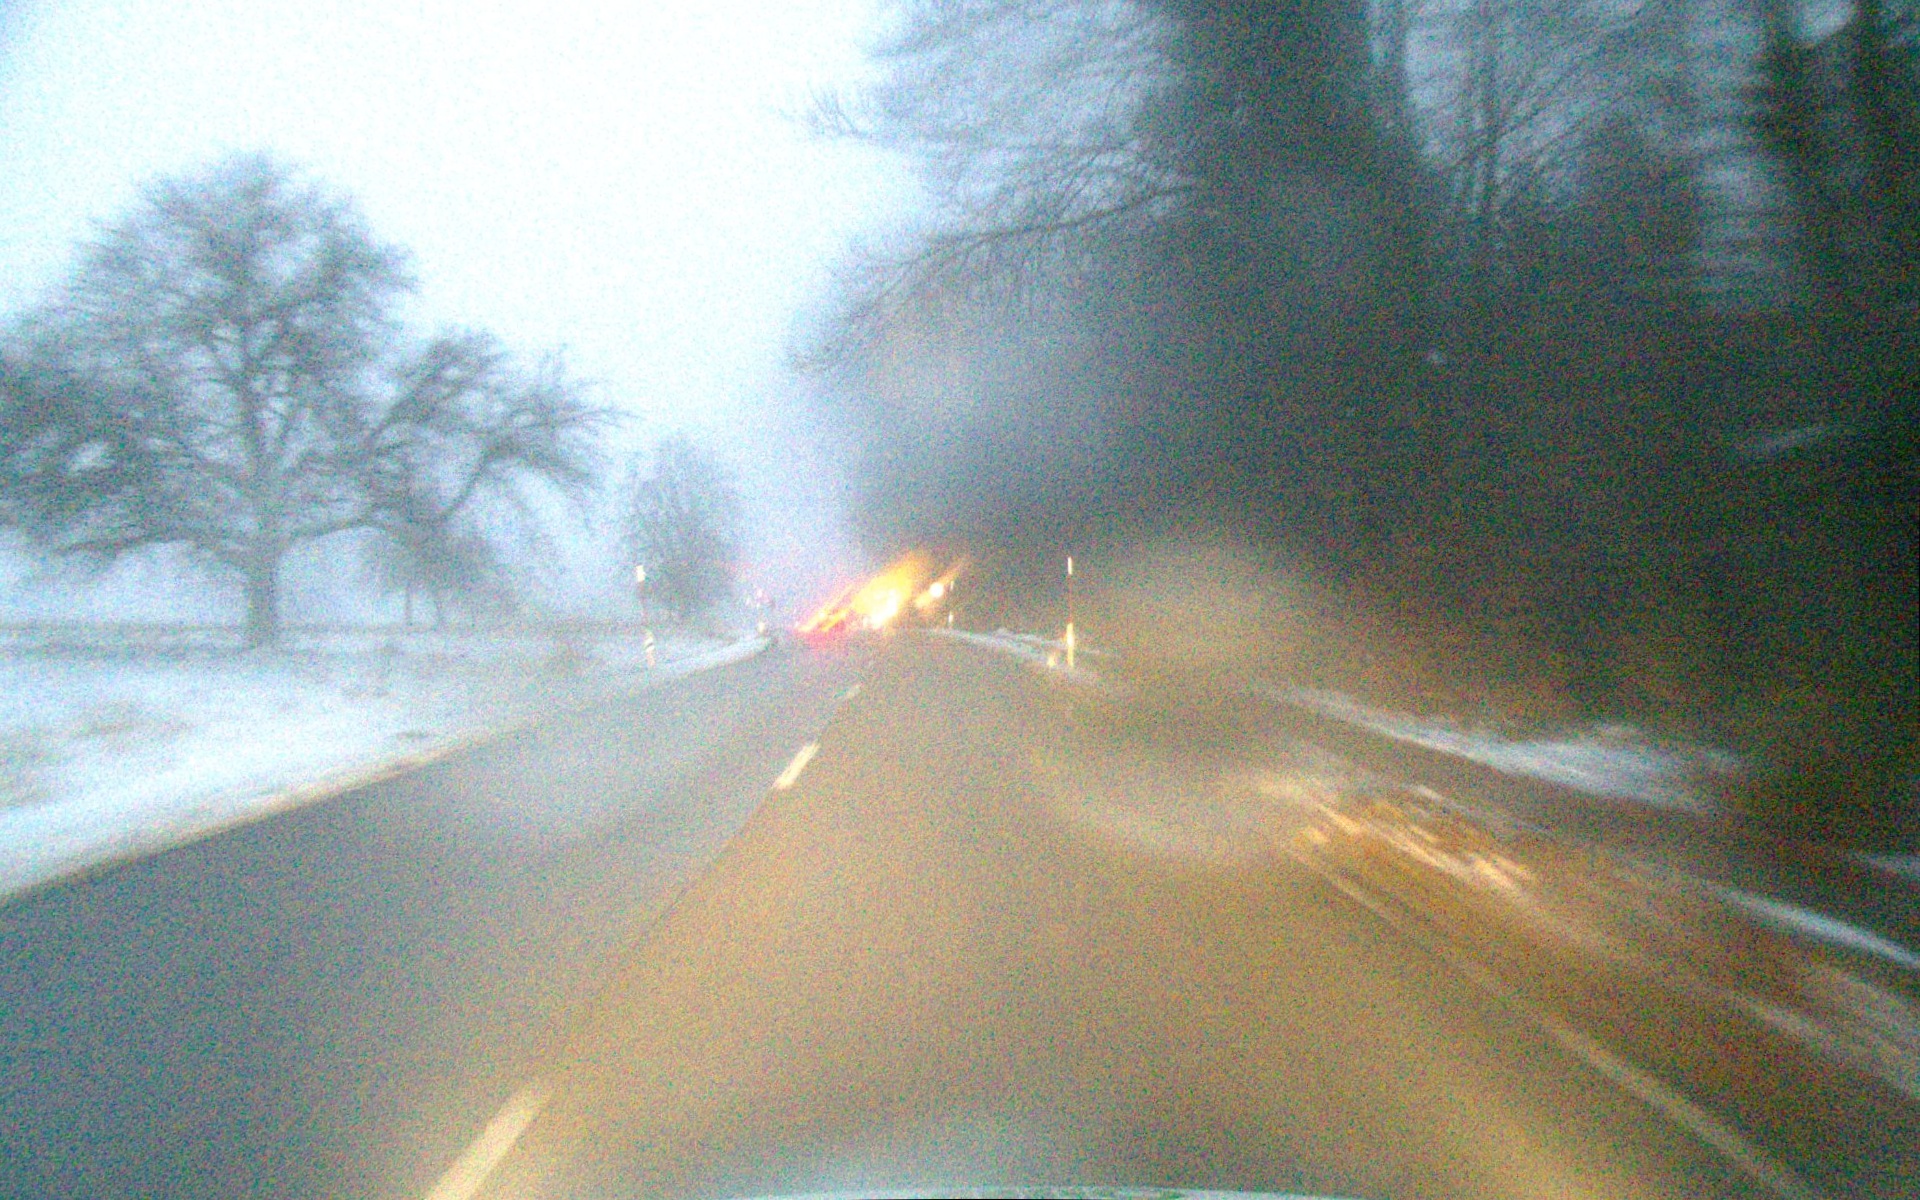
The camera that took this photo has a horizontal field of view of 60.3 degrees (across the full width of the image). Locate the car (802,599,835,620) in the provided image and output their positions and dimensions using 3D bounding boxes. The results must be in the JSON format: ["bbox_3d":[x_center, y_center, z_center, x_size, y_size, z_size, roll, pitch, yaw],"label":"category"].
[{"bbox_3d":[-9.475,0.643,110.915,1.883,1.299,3.999,-1,0,-1],"label":"car"}]
